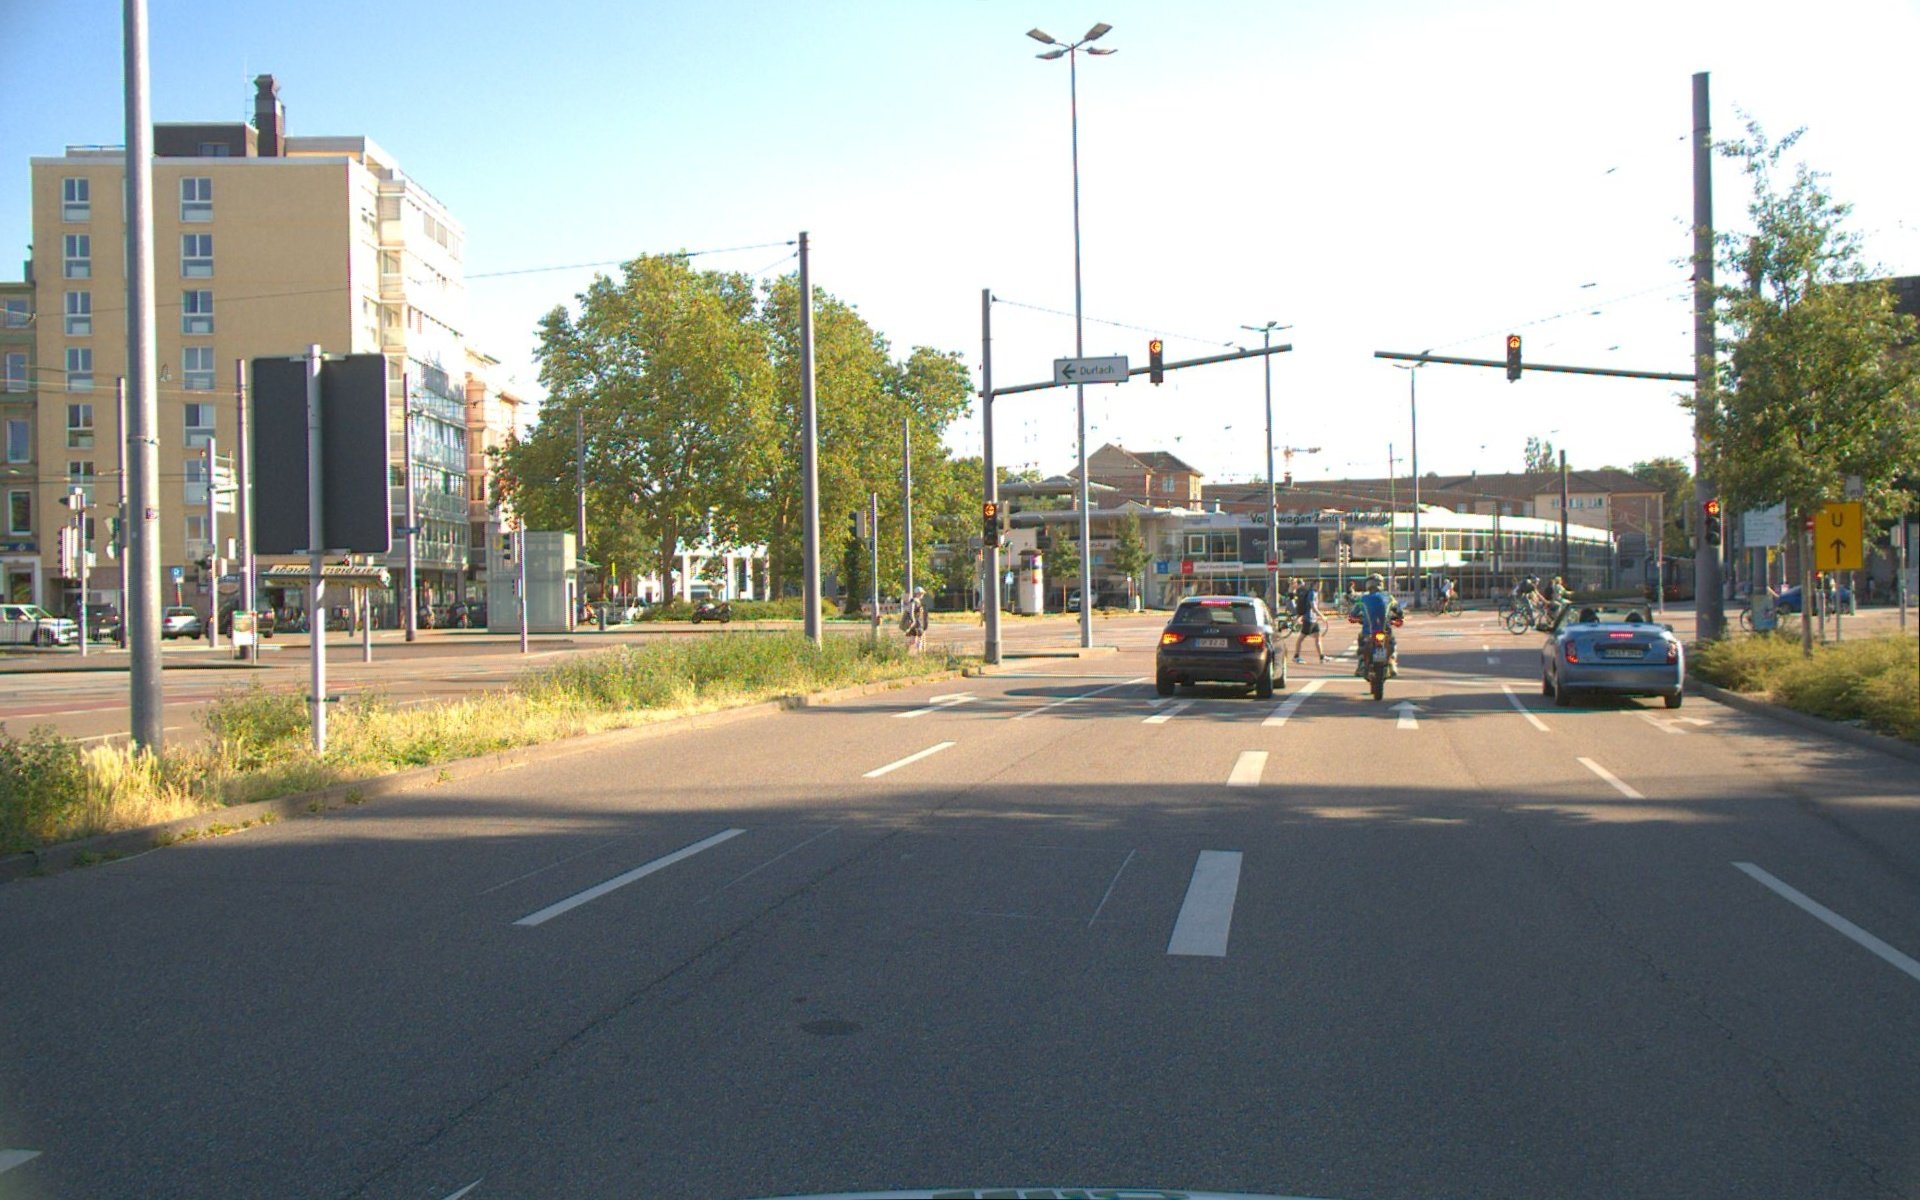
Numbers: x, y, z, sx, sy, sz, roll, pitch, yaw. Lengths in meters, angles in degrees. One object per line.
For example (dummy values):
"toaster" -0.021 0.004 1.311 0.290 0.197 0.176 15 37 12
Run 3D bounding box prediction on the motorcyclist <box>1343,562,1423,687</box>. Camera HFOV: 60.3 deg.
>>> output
"motorcyclist" 6.097 0.346 23.804 1.073 1.751 0.937 0 0 17

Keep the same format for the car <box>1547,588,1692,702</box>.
"car" 9.447 0.575 23.708 1.764 1.469 3.978 1 1 22

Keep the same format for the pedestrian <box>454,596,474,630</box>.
"pedestrian" -25.230 0.674 84.076 0.760 1.705 0.782 -1 0 -1

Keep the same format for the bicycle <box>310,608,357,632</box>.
"bicycle" -30.912 0.975 81.584 2.001 1.109 0.777 -1 0 -3

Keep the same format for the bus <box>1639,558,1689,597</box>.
"bus" 55.429 -1.759 130.076 2.311 2.933 9.557 -1 0 31

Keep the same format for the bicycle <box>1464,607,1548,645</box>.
"bicycle" 17.758 0.846 53.800 2.443 1.153 0.860 -1 2 -2

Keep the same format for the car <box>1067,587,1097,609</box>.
"car" 9.437 -0.184 127.665 1.951 1.561 4.004 0 2 10

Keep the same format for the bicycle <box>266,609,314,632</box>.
"bicycle" -33.002 1.011 81.473 2.001 1.109 0.777 -1 0 -3

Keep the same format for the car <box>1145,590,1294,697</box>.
"car" 4.015 0.591 25.095 1.763 1.469 3.981 1 1 16

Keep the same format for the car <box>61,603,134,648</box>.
"car" -37.626 1.075 72.139 1.825 1.749 3.937 -2 3 -43

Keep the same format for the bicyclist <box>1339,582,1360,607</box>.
"bicyclist" 18.723 -0.267 79.547 0.699 1.162 0.835 -1 2 -10

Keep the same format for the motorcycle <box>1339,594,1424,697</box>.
"motorcycle" 6.113 0.618 23.859 1.073 1.401 2.654 0 0 17

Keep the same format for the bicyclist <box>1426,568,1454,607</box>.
"bicyclist" 24.048 -0.640 82.863 1.048 1.933 1.122 -1 2 -2

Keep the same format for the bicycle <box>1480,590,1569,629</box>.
"bicycle" 17.102 0.282 50.158 2.440 1.153 0.861 0 2 5

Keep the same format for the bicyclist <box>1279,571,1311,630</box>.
"bicyclist" 9.935 0.002 49.089 0.730 1.720 0.859 -1 2 -5

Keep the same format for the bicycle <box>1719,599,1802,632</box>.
"bicycle" 24.941 0.477 51.524 2.254 0.921 0.858 -1 2 -10

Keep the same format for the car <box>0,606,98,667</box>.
"car" -33.361 1.297 59.418 3.660 2.048 1.999 -1 2 -4

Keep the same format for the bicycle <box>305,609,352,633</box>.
"bicycle" -30.821 1.005 80.740 2.001 1.109 0.777 -1 0 -3

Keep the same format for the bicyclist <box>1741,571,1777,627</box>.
"bicyclist" 24.870 -0.036 51.480 0.637 1.720 0.858 -1 2 -10

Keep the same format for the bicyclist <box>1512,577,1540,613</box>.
"bicyclist" 25.238 -0.222 73.756 0.904 1.587 0.963 -1 0 1

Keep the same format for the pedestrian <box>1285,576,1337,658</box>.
"pedestrian" 7.485 0.359 35.264 0.815 1.701 0.694 -1 0 -23

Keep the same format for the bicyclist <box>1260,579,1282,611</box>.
"bicyclist" 15.398 -0.250 81.971 0.905 1.586 0.860 -1 2 -4

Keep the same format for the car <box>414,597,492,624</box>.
"car" -28.791 0.568 94.026 3.910 1.447 1.811 -1 0 -7

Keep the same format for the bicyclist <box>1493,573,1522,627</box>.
"bicyclist" 17.801 -0.010 53.787 0.636 1.720 0.860 -1 2 -2

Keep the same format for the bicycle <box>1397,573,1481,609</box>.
"bicycle" 24.008 -0.474 82.878 3.907 1.719 1.139 -1 2 -2

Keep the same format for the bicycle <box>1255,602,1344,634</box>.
"bicycle" 10.068 0.532 49.117 2.444 0.889 0.859 -1 2 -5

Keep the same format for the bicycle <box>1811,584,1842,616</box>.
"bicycle" 30.206 -0.012 57.695 0.773 1.057 1.962 -3 -1 24

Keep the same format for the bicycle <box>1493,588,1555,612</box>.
"bicycle" 25.141 -0.009 73.750 2.388 1.021 0.963 -1 0 0

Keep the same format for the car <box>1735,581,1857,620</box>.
"car" 37.365 0.011 74.026 4.503 1.622 1.955 -1 0 10

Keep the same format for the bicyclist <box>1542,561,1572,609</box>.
"bicyclist" 21.827 -0.546 60.505 0.646 1.720 0.847 -2 2 -43

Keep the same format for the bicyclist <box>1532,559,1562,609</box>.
"bicyclist" 21.320 -0.576 60.055 0.580 1.809 0.853 -1 0 -43

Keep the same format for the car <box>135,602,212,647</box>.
"car" -34.346 1.026 72.194 1.827 1.778 3.934 -2 3 -45

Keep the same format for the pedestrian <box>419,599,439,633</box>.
"pedestrian" -26.981 0.797 84.077 0.760 1.705 0.782 -1 0 -1

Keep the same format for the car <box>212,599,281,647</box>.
"car" -31.410 0.967 72.759 1.834 1.889 3.947 -2 3 -38

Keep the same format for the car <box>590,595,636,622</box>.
"car" -20.118 0.470 96.099 1.809 1.477 4.000 -1 0 0

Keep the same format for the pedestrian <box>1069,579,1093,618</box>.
"pedestrian" 5.801 -0.084 79.130 0.968 1.847 0.921 0 2 14

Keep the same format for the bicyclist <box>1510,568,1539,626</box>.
"bicyclist" 17.117 -0.108 50.149 0.635 1.720 0.861 0 2 5

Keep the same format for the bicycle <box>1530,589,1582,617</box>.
"bicycle" 21.803 0.105 60.509 2.285 0.921 0.847 -3 3 -43

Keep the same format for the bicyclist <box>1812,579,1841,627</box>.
"bicyclist" 30.214 0.115 57.687 0.773 1.621 0.947 -3 -1 24

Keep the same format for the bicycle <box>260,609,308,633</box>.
"bicycle" -32.957 1.032 80.603 2.001 1.109 0.777 -1 0 -3

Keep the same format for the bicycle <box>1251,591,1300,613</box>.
"bicycle" 15.635 0.096 81.986 2.250 0.996 0.860 -1 2 -3

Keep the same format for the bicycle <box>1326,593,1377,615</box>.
"bicycle" 18.845 0.206 79.577 2.254 0.976 0.858 -2 2 -10

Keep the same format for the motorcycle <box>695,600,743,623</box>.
"motorcycle" -11.887 0.577 81.545 2.237 1.072 0.688 0 2 3

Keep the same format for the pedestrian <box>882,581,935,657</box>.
"pedestrian" -1.124 0.414 36.532 1.069 1.634 0.699 0 2 6
